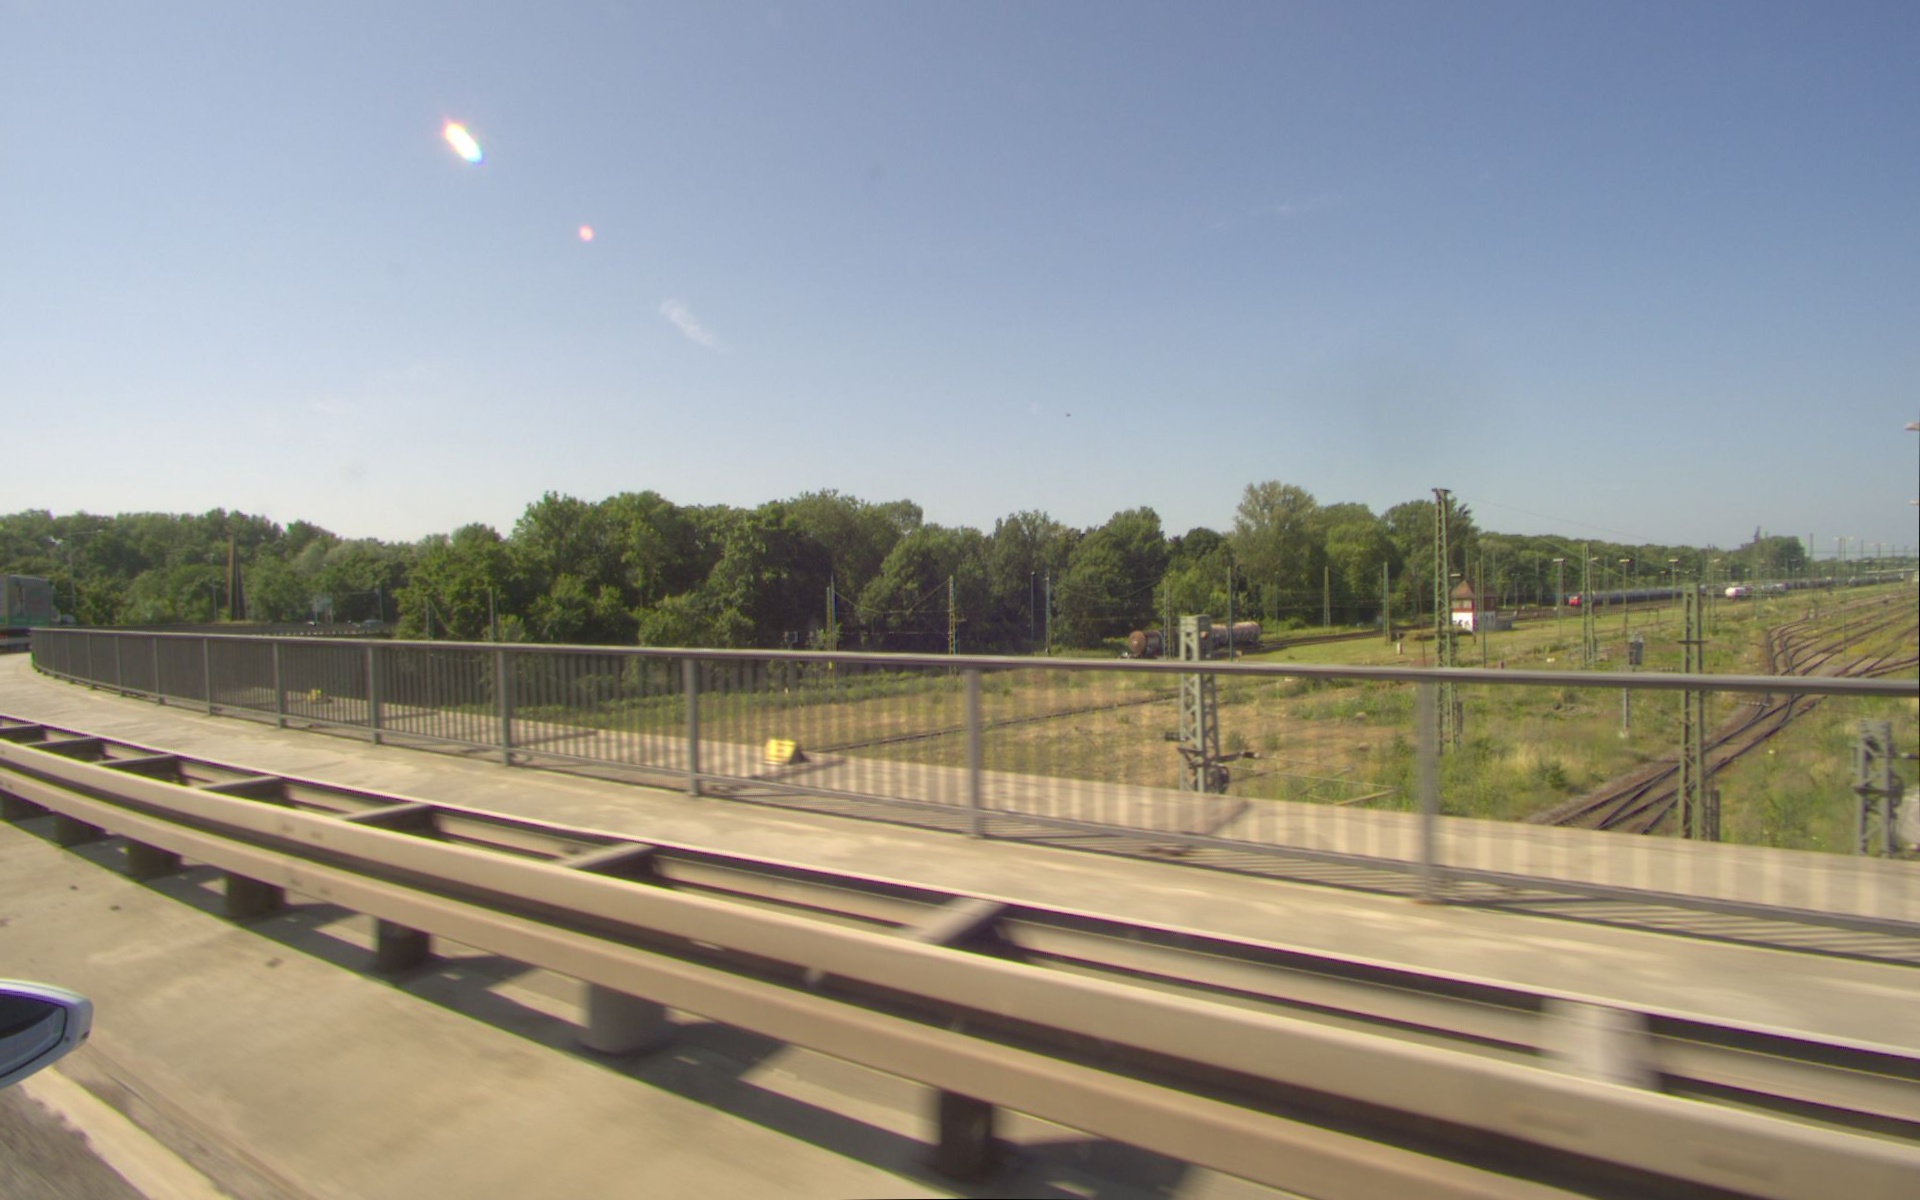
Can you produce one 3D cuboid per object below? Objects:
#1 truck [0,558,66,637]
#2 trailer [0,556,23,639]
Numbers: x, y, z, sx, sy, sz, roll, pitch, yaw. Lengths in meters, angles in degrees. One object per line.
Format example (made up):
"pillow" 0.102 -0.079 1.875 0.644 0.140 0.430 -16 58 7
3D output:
"truck" -49.386 -0.165 51.645 3.226 3.807 8.322 2 -1 -31
"trailer" -45.277 -0.159 44.900 3.192 3.807 7.778 2 -1 -32
